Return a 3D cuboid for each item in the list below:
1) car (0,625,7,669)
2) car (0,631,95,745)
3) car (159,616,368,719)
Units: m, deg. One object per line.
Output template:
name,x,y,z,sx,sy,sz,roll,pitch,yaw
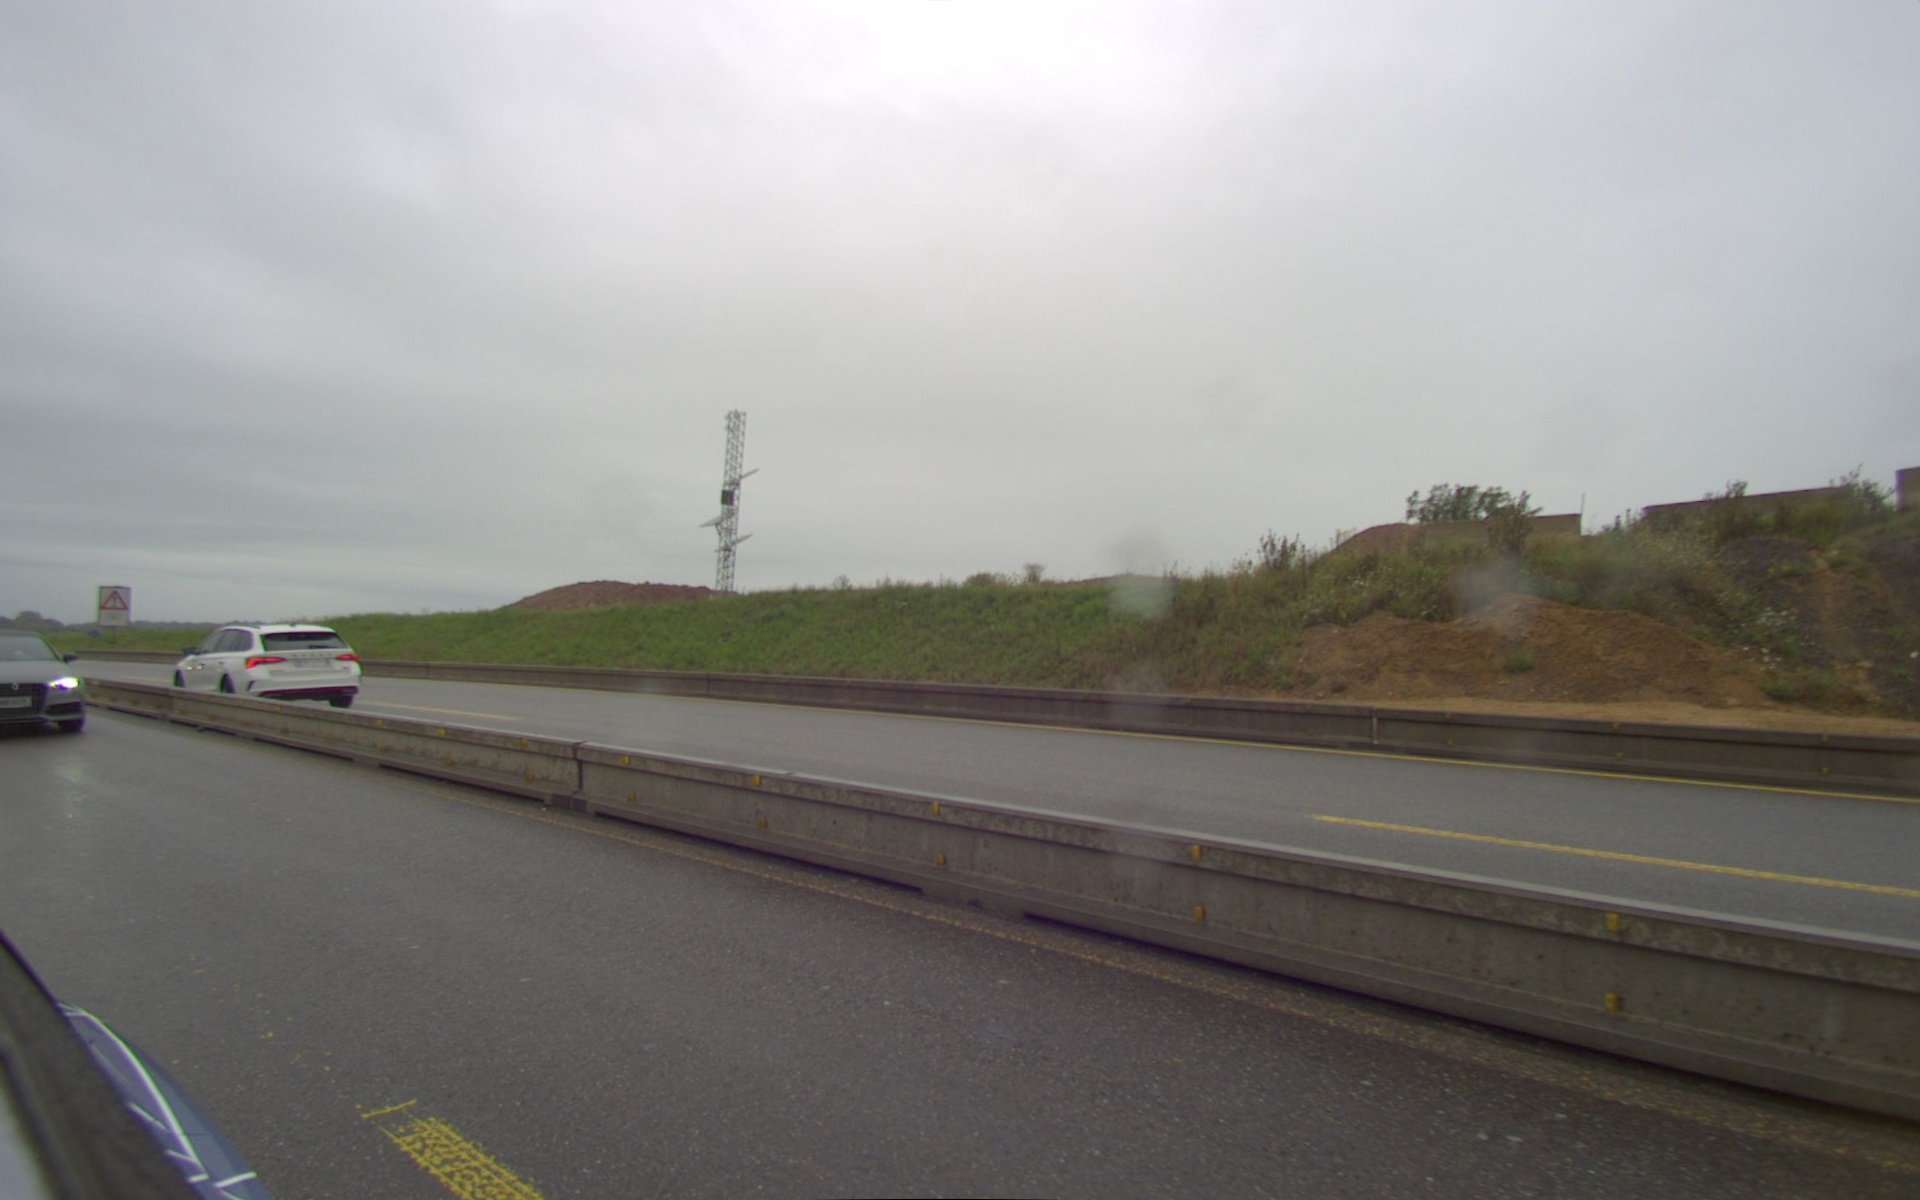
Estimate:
car,-35.387,1.672,36.062,3.826,1.514,1.632,-1,-1,40
car,-13.689,1.156,14.086,4.083,1.393,1.782,-1,-1,39
car,-11.931,1.051,17.216,4.630,1.514,1.727,-1,-1,39
